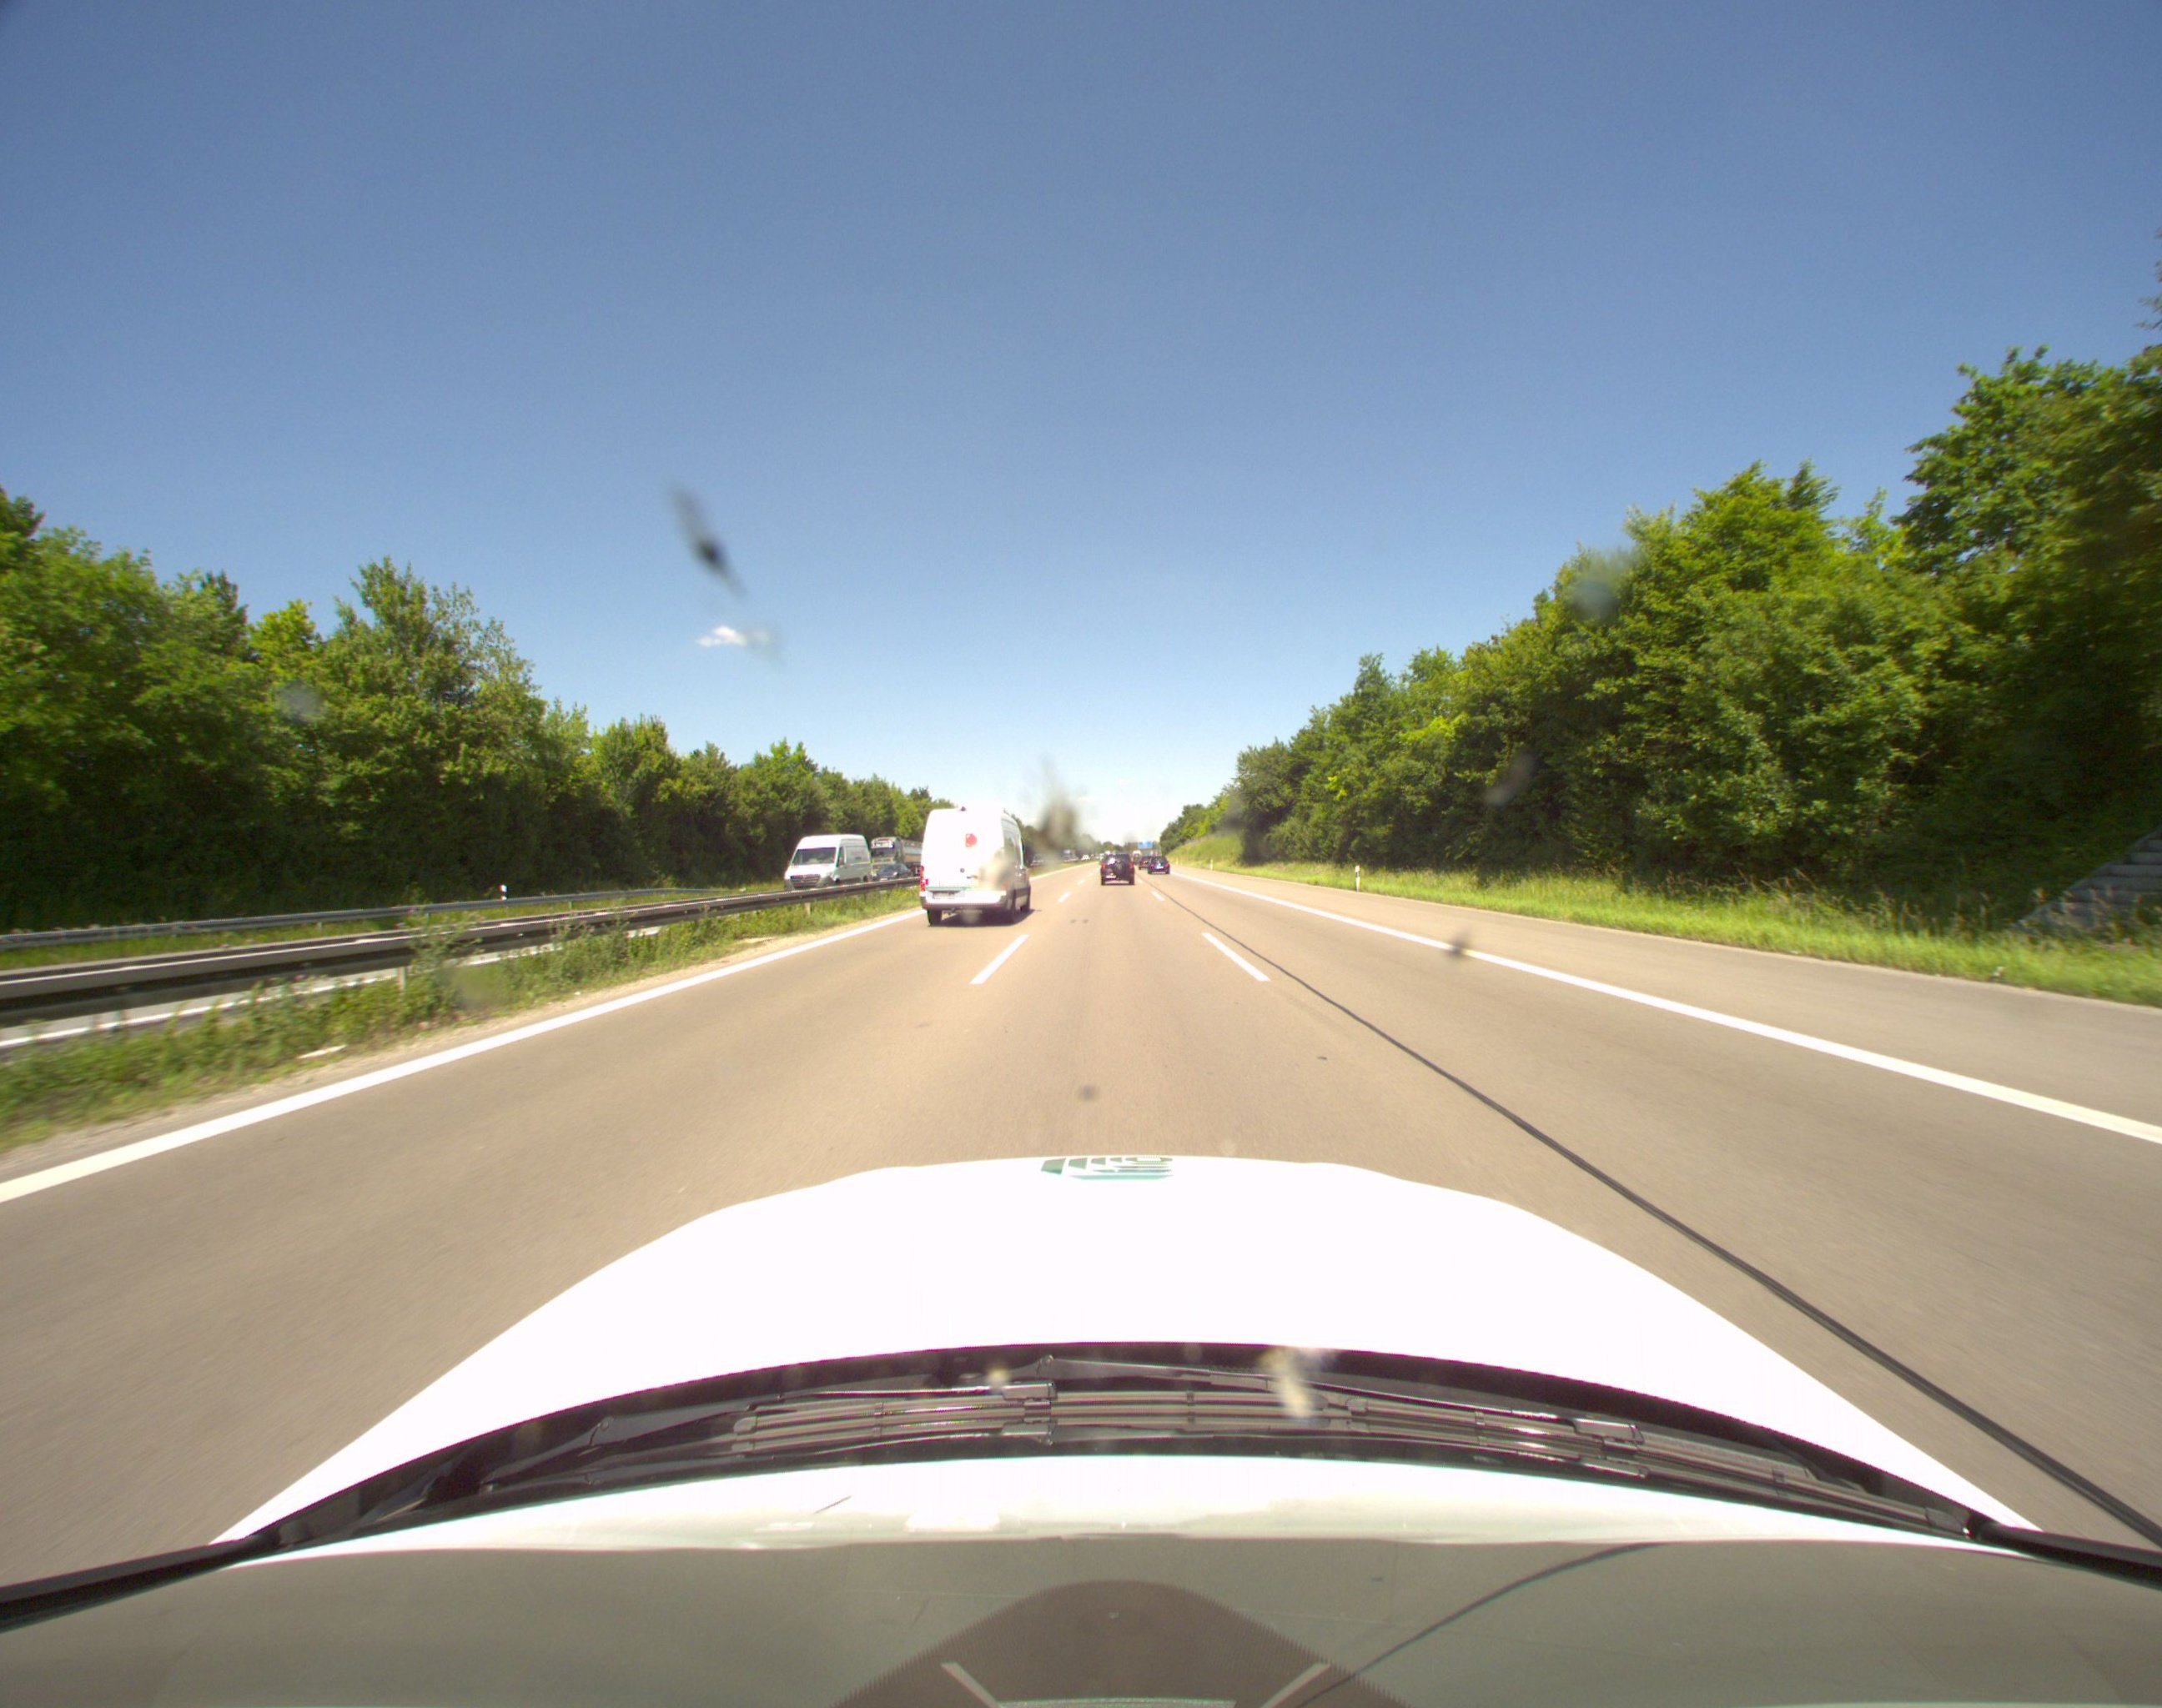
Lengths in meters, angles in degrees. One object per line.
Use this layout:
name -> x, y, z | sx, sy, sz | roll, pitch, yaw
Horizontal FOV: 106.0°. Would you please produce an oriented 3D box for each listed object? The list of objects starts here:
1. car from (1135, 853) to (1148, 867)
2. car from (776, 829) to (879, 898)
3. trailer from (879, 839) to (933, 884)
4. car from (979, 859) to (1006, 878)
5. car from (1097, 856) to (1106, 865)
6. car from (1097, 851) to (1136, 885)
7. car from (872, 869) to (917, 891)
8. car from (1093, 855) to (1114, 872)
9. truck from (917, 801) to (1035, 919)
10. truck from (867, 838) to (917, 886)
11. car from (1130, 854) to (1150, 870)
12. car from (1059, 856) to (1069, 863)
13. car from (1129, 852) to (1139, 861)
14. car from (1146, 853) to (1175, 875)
car -> 9.534, 0.965, 128.535 | 1.986, 2.014, 4.002 | -2, -1, 2
car -> -10.428, 0.371, 34.181 | 2.063, 2.555, 6.403 | -2, 0, 2
trailer -> -16.730, 0.712, 78.452 | 2.756, 3.882, 9.458 | -4, 0, 1
car -> -8.703, 1.417, 80.370 | 1.899, 1.788, 5.061 | -2, 0, 2
car -> 5.059, 1.648, 199.897 | 1.984, 2.013, 4.956 | -2, 0, 5
car -> 1.840, 0.732, 43.193 | 1.900, 1.665, 4.001 | -2, -1, 1
car -> -13.167, 1.799, 57.703 | 1.899, 1.416, 4.893 | -2, 0, 2
car -> 2.441, 0.968, 88.373 | 1.985, 1.706, 4.341 | -2, 0, 4
truck -> -2.445, 0.131, 20.903 | 1.986, 2.542, 6.694 | 0, 0, 2
truck -> -16.761, 0.688, 72.707 | 2.722, 3.882, 6.322 | -4, 0, 0
car -> 6.334, 0.884, 87.874 | 1.836, 1.611, 4.000 | -2, -1, 1
car -> -3.968, 1.215, 187.322 | 1.986, 1.665, 4.476 | -2, 0, 2
car -> 12.714, 0.642, 194.246 | 1.987, 2.013, 4.766 | -2, 0, 0
car -> 6.551, 0.835, 67.581 | 1.987, 1.684, 4.000 | -2, -1, 1
